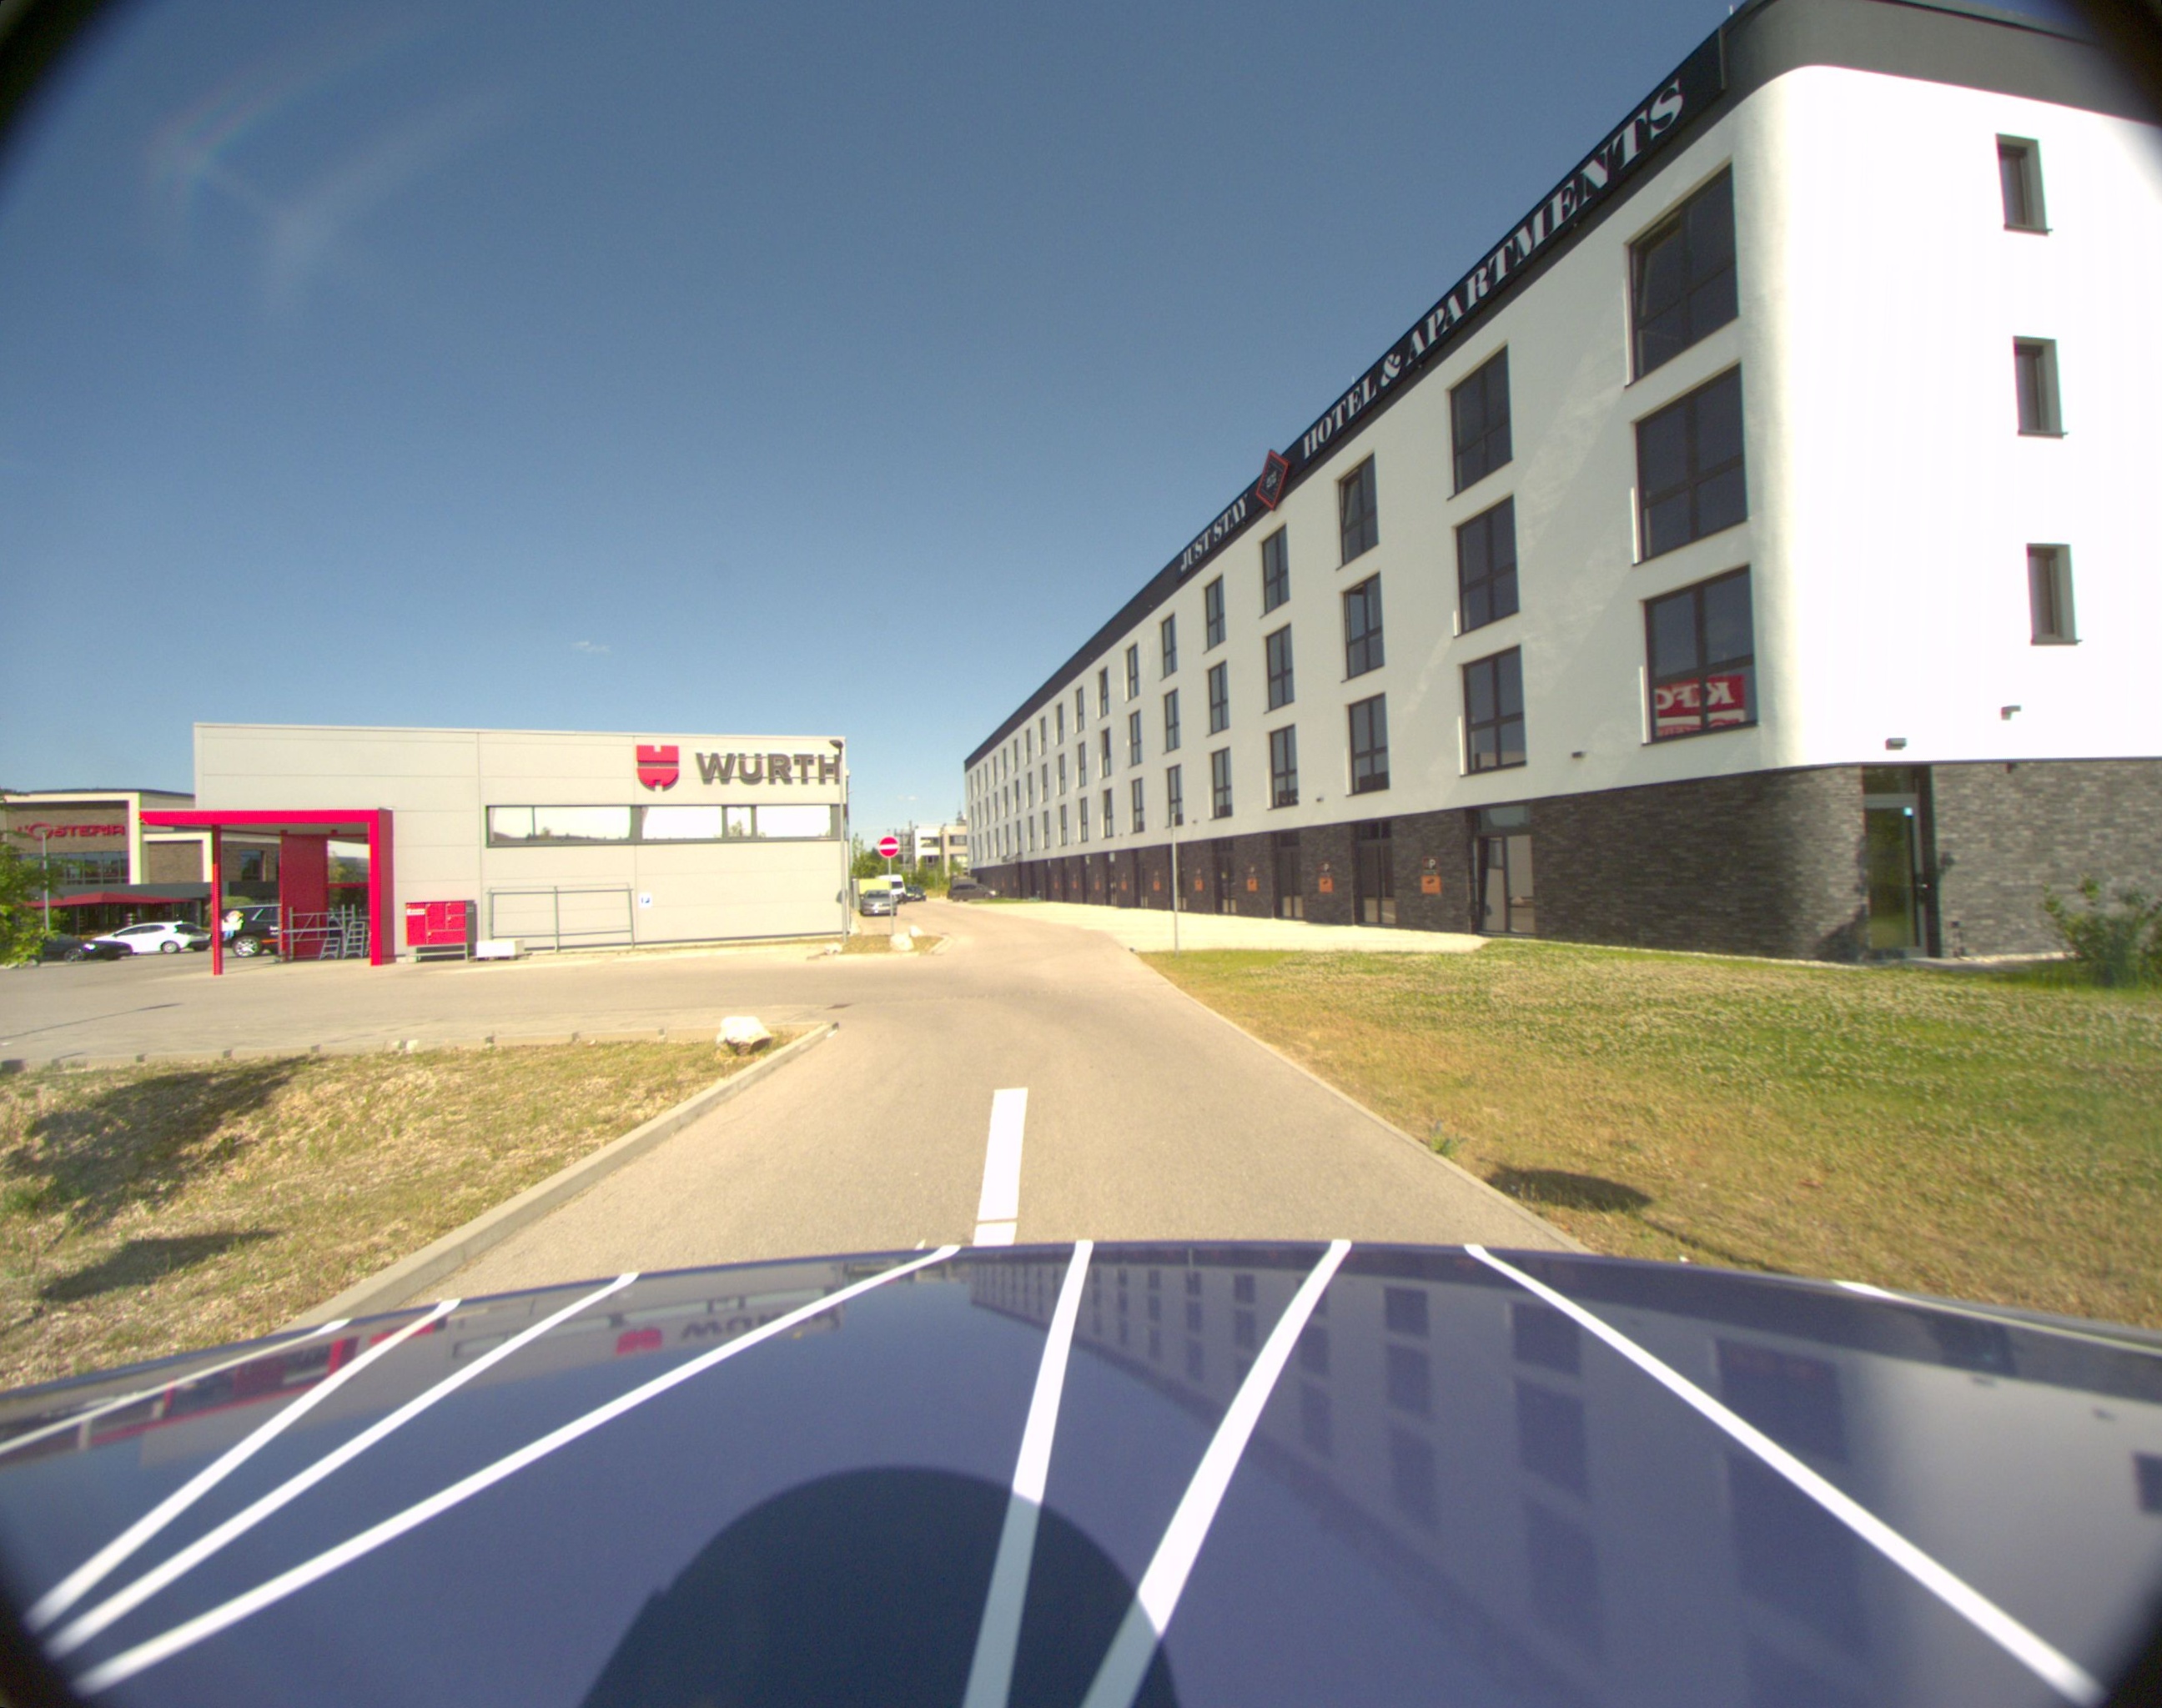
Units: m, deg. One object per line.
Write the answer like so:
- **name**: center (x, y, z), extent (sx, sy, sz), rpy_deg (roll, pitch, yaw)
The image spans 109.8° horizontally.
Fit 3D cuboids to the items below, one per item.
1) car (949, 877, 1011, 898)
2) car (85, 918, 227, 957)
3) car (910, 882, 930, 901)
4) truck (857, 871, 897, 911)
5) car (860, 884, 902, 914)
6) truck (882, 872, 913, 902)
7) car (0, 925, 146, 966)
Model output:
- **car**: center (-8.066, 2.673, 60.749), extent (4.516, 1.499, 1.882), rpy_deg (-3, -1, 18)
- **car**: center (-43.624, 3.898, 35.923), extent (3.915, 1.465, 1.802), rpy_deg (-2, -1, -14)
- **car**: center (-14.701, 3.394, 69.313), extent (1.719, 1.608, 3.996), rpy_deg (-3, 0, -13)
- **truck**: center (-13.211, 2.339, 49.014), extent (2.125, 2.362, 5.883), rpy_deg (-2, -1, -18)
- **car**: center (-11.266, 2.496, 42.632), extent (1.881, 1.499, 3.994), rpy_deg (-2, -1, -20)
- **truck**: center (-15.687, 2.813, 64.695), extent (2.001, 2.362, 5.883), rpy_deg (-2, -1, -18)
- **car**: center (-42.127, 3.763, 31.305), extent (4.157, 1.329, 1.828), rpy_deg (-2, -1, -19)
